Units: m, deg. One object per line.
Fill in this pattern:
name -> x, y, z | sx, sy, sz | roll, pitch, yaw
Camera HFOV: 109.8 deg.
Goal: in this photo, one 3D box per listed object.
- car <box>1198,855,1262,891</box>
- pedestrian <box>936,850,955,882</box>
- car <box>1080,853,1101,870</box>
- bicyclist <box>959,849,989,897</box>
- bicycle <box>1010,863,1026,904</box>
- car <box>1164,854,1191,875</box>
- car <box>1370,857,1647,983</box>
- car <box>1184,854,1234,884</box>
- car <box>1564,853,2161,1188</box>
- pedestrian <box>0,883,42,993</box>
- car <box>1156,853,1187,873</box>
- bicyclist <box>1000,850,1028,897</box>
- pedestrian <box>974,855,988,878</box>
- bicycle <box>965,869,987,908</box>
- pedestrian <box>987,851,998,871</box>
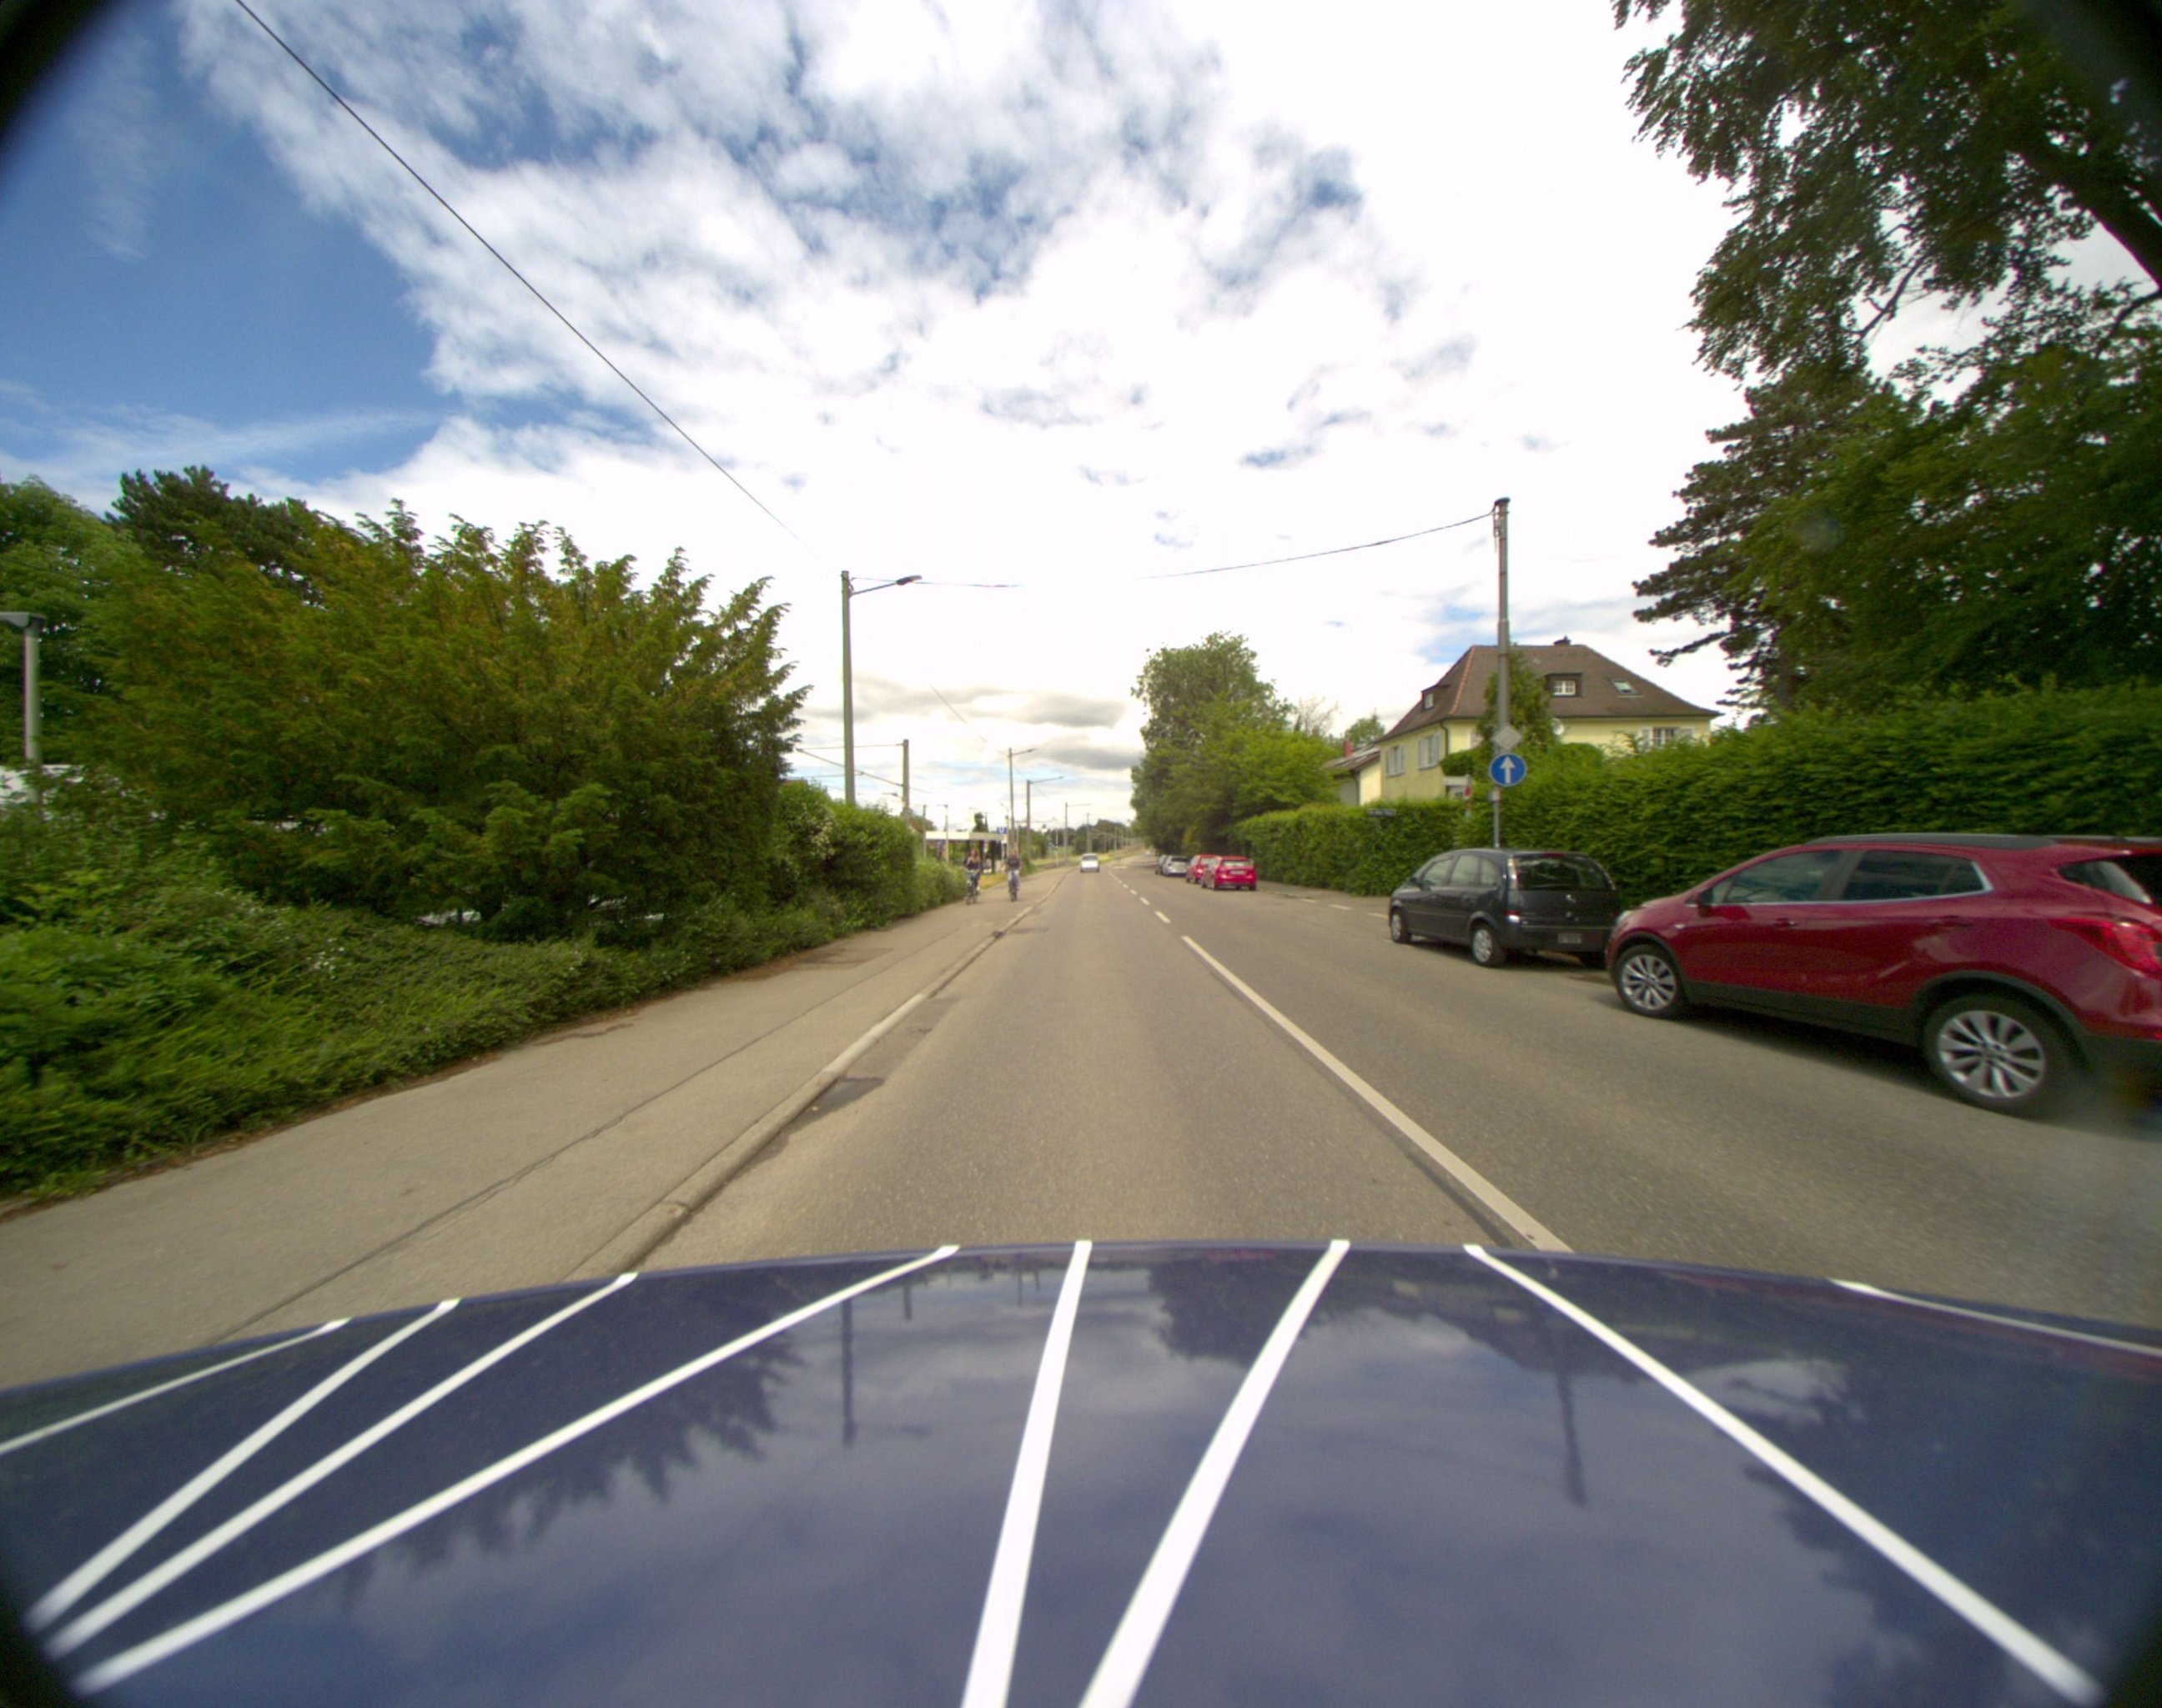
car -> 6.314, 0.766, 32.695 | 1.971, 1.394, 4.065 | -1, 0, 0
pedestrian -> -7.172, 0.628, 40.154 | 0.730, 1.608, 0.704 | -3, 1, -34
car -> 0.813, 0.639, 67.385 | 1.666, 1.394, 3.899 | -1, 0, -1
bicyclist -> -3.440, 0.609, 24.543 | 0.826, 1.529, 0.861 | -1, 1, -2
bicycle -> -2.131, 0.967, 25.673 | 0.451, 1.278, 2.206 | -2, 1, -5
car -> 6.606, 0.705, 52.123 | 1.676, 1.363, 3.607 | 1, 0, 5
car -> 6.085, 0.816, 11.509 | 1.762, 1.525, 4.327 | 0, 0, 0
car -> 6.579, 0.759, 39.407 | 1.853, 1.442, 3.748 | -1, 0, -1
car -> 6.058, 0.808, 5.793 | 1.795, 1.601, 4.415 | -1, 0, -3
pedestrian -> -20.299, 1.569, 14.030 | 0.918, 2.002, 0.917 | -2, 1, 10
car -> 6.840, 0.664, 57.600 | 1.819, 1.394, 3.899 | -1, 0, -1
bicyclist -> -2.259, 0.636, 25.677 | 0.827, 1.530, 0.861 | -2, 1, -3
pedestrian -> -6.380, 0.784, 48.315 | 0.720, 1.412, 0.643 | -2, 1, 3
bicycle -> -3.374, 1.090, 24.547 | 0.451, 1.143, 2.207 | -1, 1, -1
pedestrian -> -5.870, 0.472, 50.293 | 0.588, 1.272, 0.582 | -2, 1, 3
